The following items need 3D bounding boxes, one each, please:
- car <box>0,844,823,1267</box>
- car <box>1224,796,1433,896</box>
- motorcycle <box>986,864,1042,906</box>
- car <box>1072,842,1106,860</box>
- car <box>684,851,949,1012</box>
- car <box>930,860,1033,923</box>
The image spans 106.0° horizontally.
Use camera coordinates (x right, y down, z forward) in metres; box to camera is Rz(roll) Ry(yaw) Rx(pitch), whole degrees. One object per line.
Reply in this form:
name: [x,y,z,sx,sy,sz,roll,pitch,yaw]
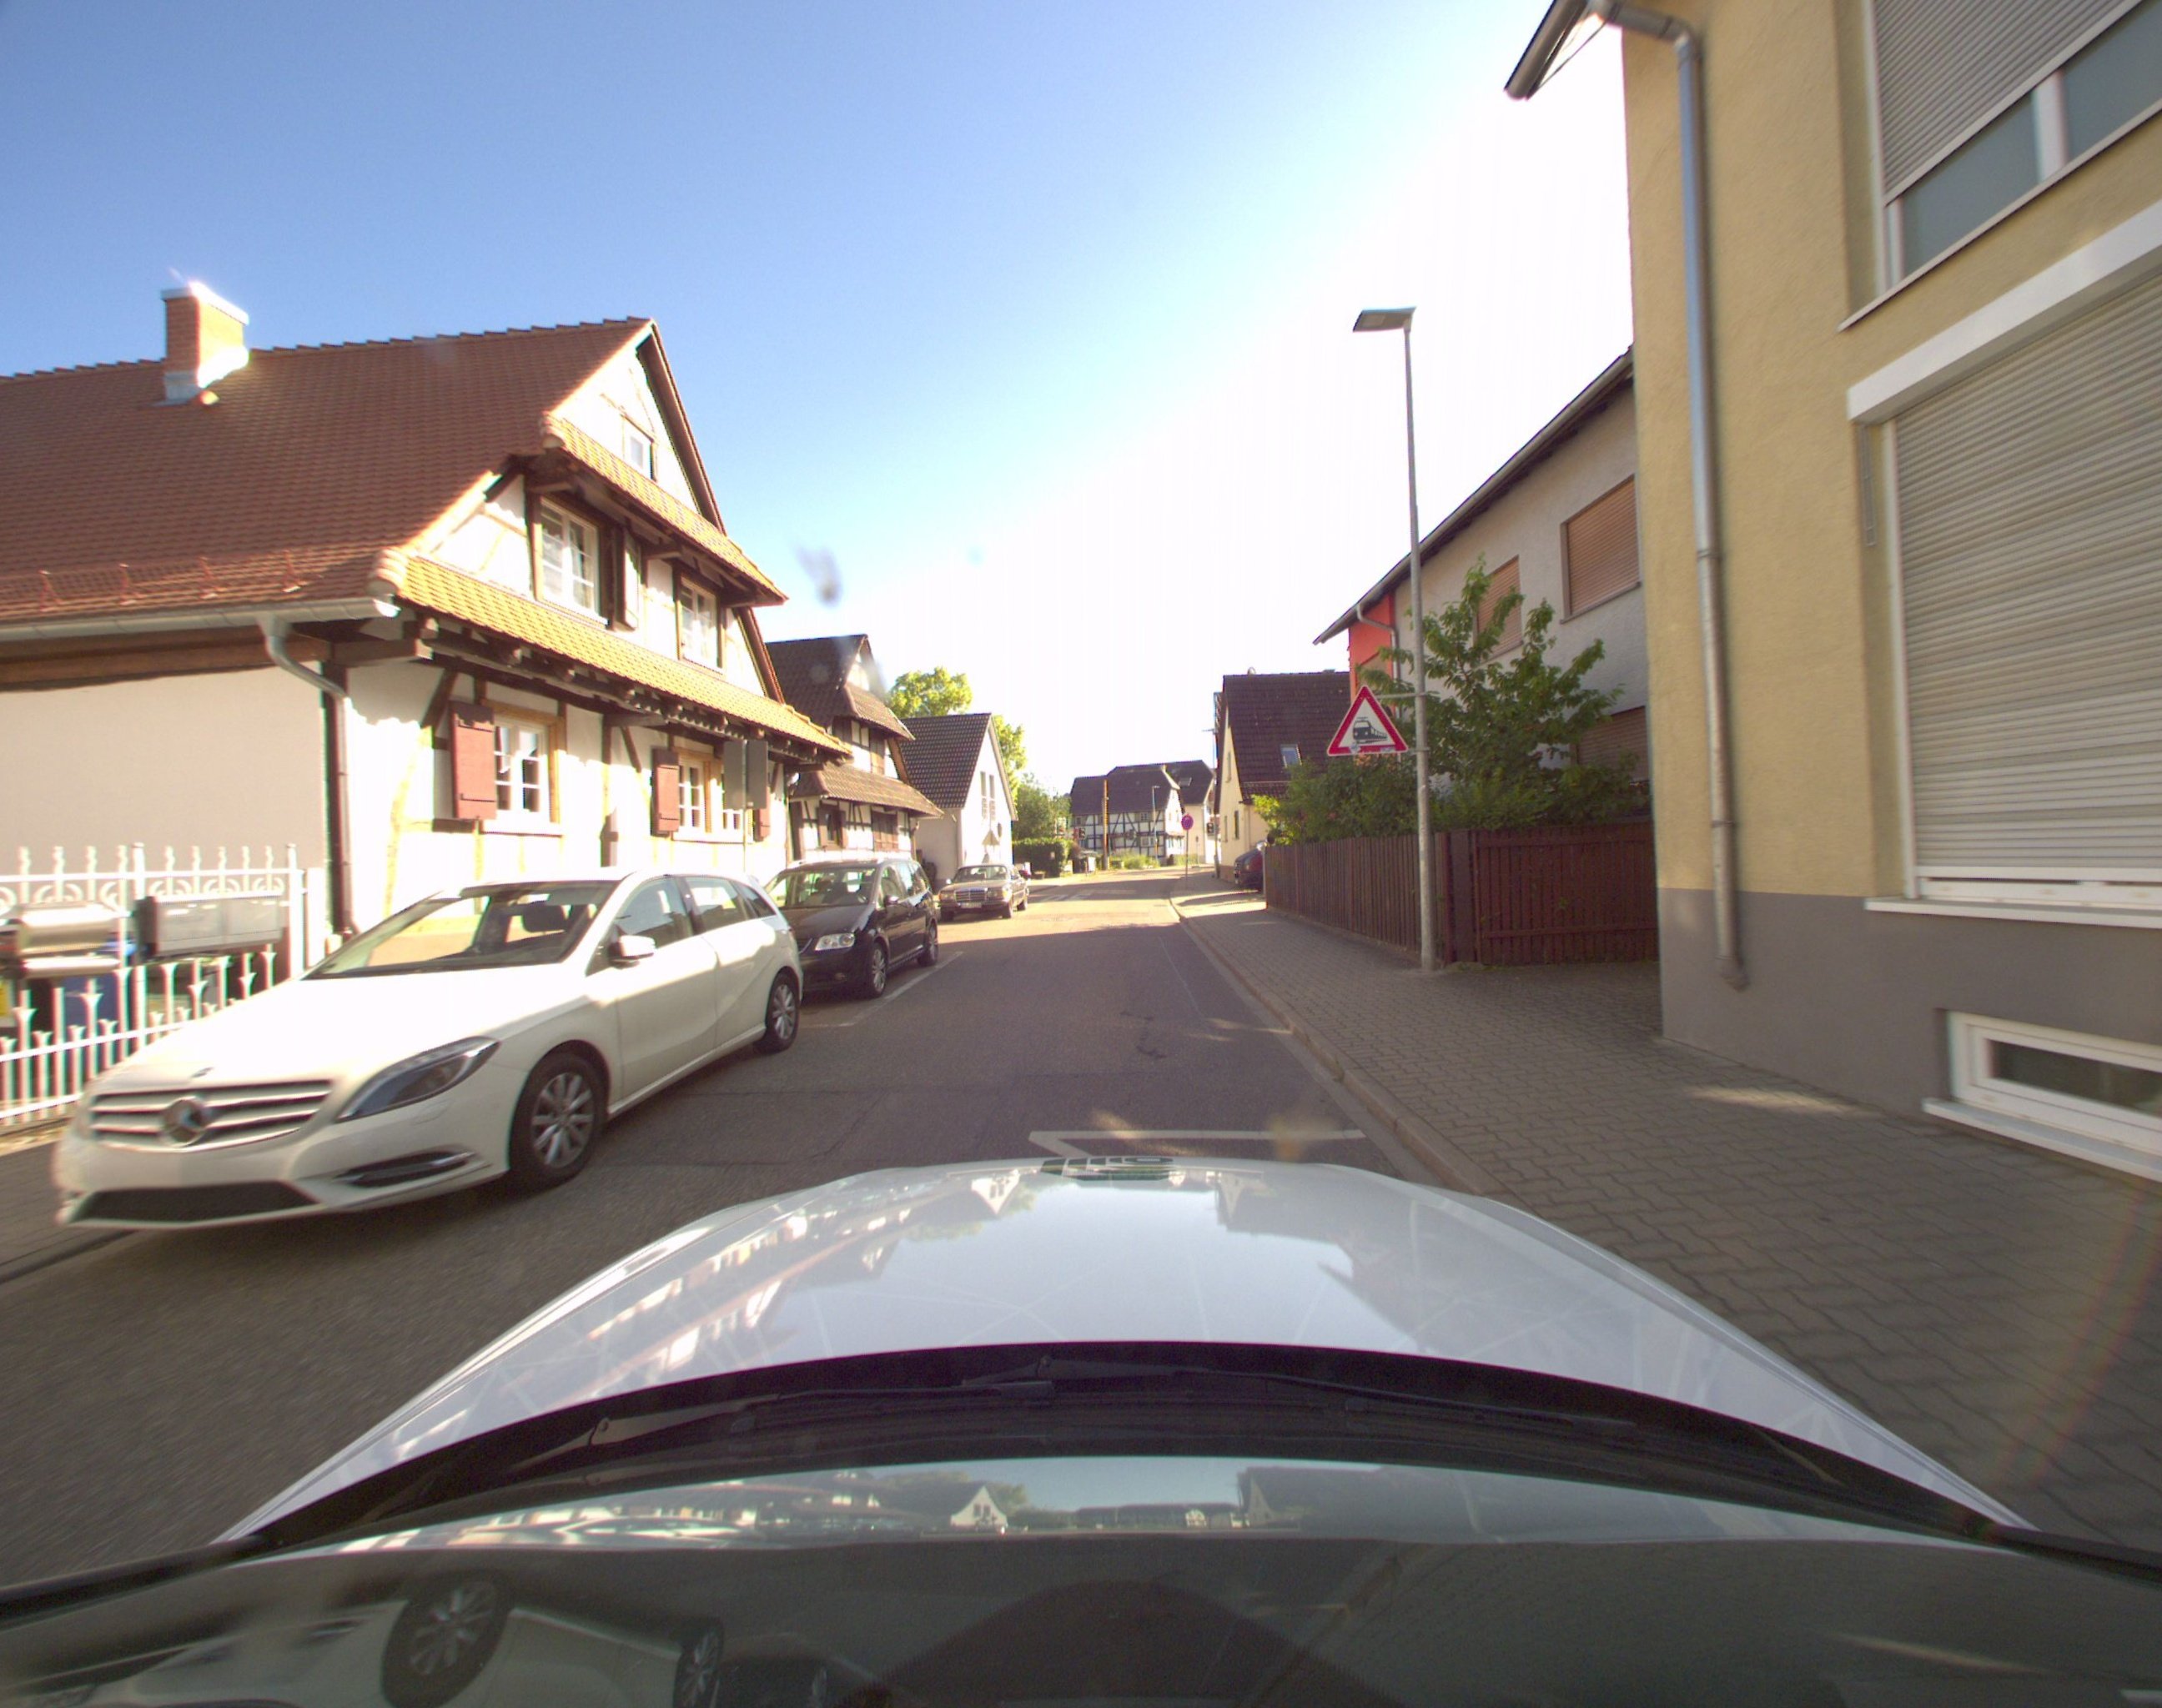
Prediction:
car: [-3.338,0.802,5.198,1.809,1.567,4.171,-2,-1,3]
car: [7.588,-0.227,25.368,5.787,2.655,1.966,-4,-2,-2]
motorcycle: [-2.139,0.976,25.779,0.630,1.231,1.970,-2,0,-43]
car: [0.653,-0.241,71.097,1.689,1.564,3.972,0,-1,-20]
car: [-3.086,0.817,10.577,1.776,1.605,4.364,-2,-1,3]
car: [-2.542,0.923,22.075,1.837,1.406,5.040,-3,-1,3]
